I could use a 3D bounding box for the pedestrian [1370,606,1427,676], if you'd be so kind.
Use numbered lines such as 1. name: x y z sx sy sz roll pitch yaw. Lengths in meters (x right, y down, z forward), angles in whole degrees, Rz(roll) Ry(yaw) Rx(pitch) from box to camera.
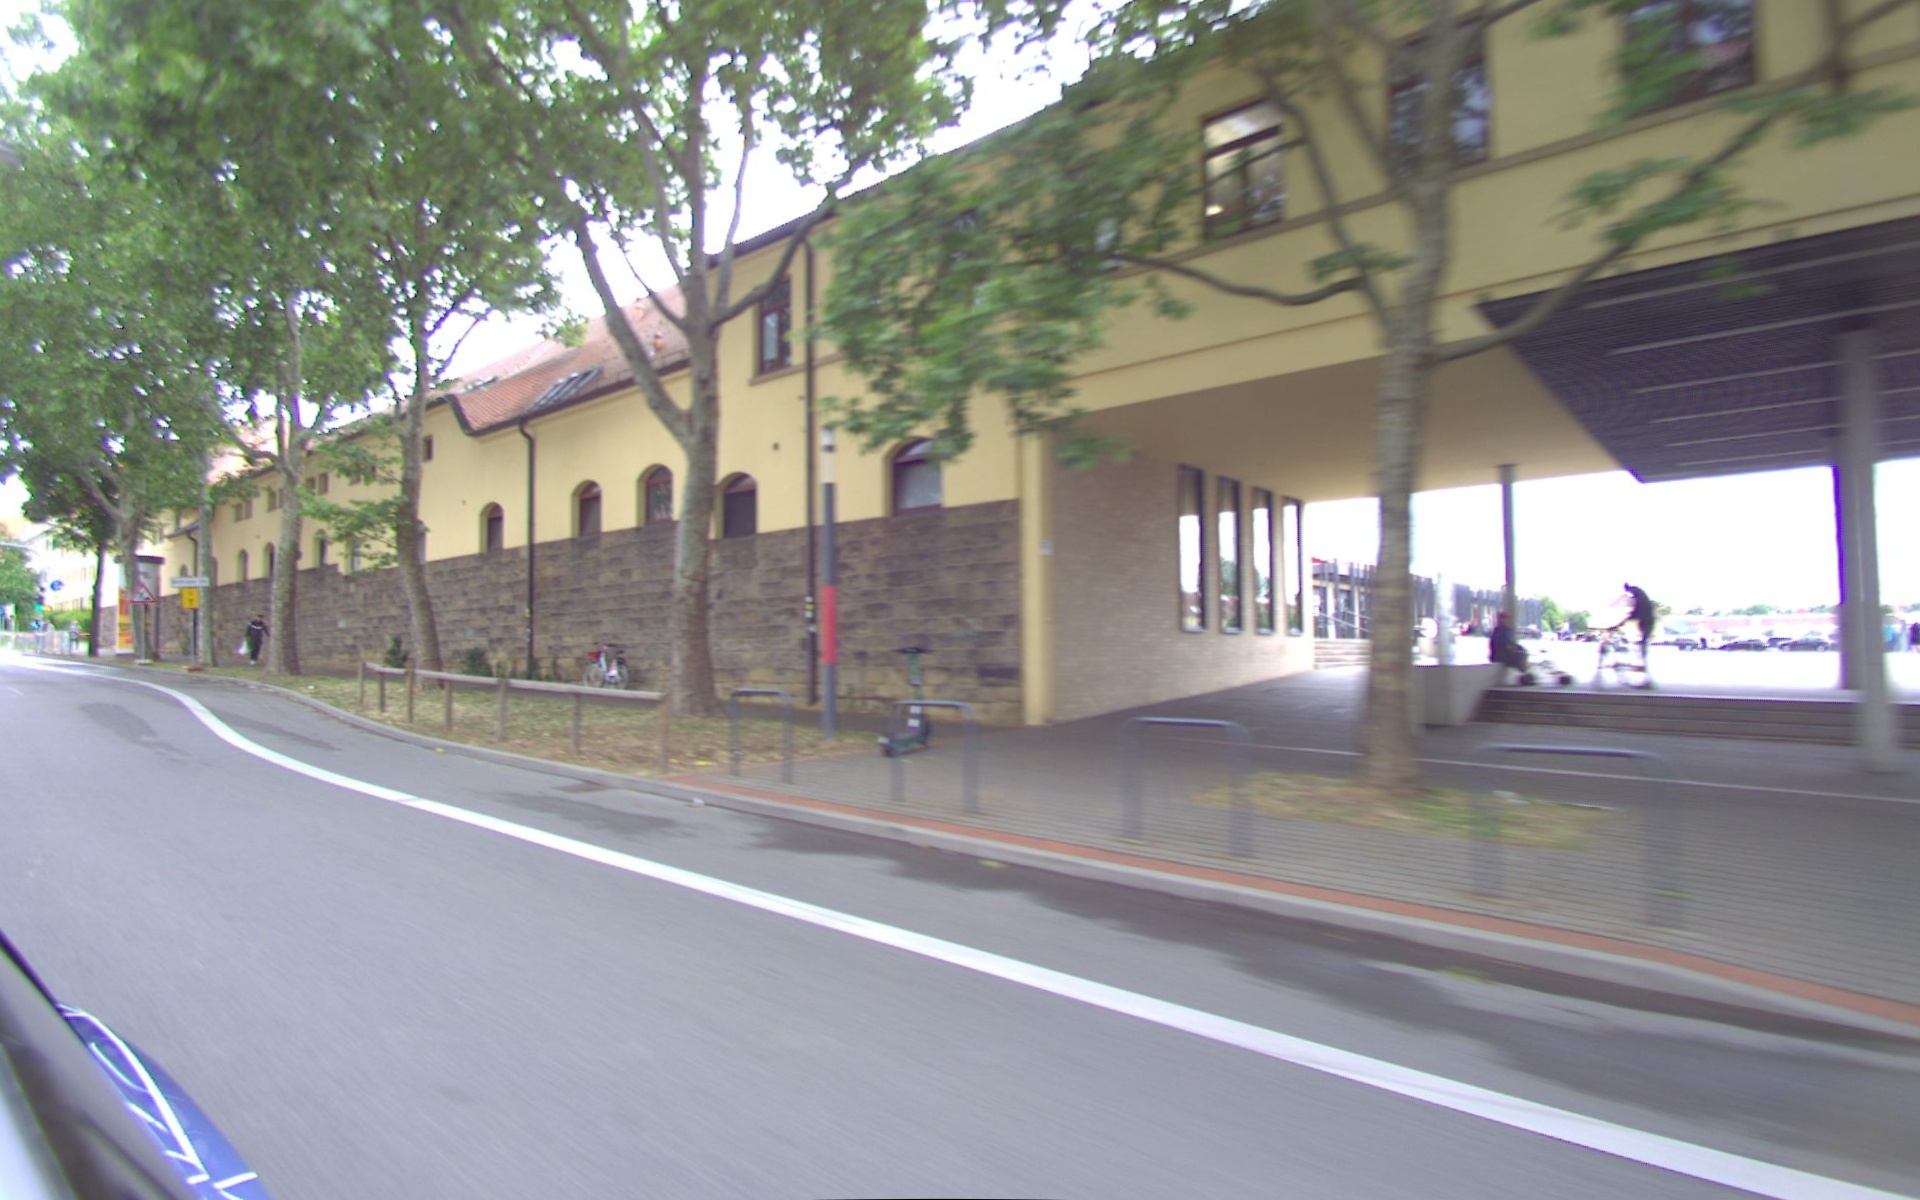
1. pedestrian: 9.791 0.898 22.596 0.963 1.534 0.801 -1 -1 40

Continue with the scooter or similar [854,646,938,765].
1. scooter or similar: -0.727 1.196 11.934 0.443 1.249 1.611 -1 -1 18

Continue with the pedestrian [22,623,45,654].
1. pedestrian: -52.156 2.131 56.962 0.931 1.699 0.843 0 0 42

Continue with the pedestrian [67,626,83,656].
1. pedestrian: -50.300 2.308 57.501 0.549 1.675 0.617 0 0 42

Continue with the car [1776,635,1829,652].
1. car: 83.465 4.328 100.291 3.995 1.497 1.974 0 0 39

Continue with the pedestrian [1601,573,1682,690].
1. pedestrian: 10.910 0.492 16.196 0.799 1.804 0.905 1 -2 -45

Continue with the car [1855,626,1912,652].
1. car: 90.026 3.737 98.720 1.970 2.392 4.003 0 0 -44

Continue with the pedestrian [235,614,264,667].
1. pedestrian: -25.317 1.432 36.069 0.816 1.890 0.664 -1 -1 42

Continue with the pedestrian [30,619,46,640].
1. pedestrian: -90.153 2.921 98.927 1.096 2.005 1.029 0 0 42

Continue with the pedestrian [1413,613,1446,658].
1. pedestrian: 16.182 1.212 34.883 0.811 1.534 0.951 -1 -1 40

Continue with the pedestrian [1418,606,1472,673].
1. pedestrian: 11.415 0.908 23.820 0.963 1.534 0.801 -1 -1 40

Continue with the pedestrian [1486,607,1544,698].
1. pedestrian: 9.561 0.883 17.423 0.760 1.500 0.567 1 0 42

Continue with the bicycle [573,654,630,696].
1. bicycle: -7.809 1.622 22.035 1.775 0.852 0.332 -1 -1 41
